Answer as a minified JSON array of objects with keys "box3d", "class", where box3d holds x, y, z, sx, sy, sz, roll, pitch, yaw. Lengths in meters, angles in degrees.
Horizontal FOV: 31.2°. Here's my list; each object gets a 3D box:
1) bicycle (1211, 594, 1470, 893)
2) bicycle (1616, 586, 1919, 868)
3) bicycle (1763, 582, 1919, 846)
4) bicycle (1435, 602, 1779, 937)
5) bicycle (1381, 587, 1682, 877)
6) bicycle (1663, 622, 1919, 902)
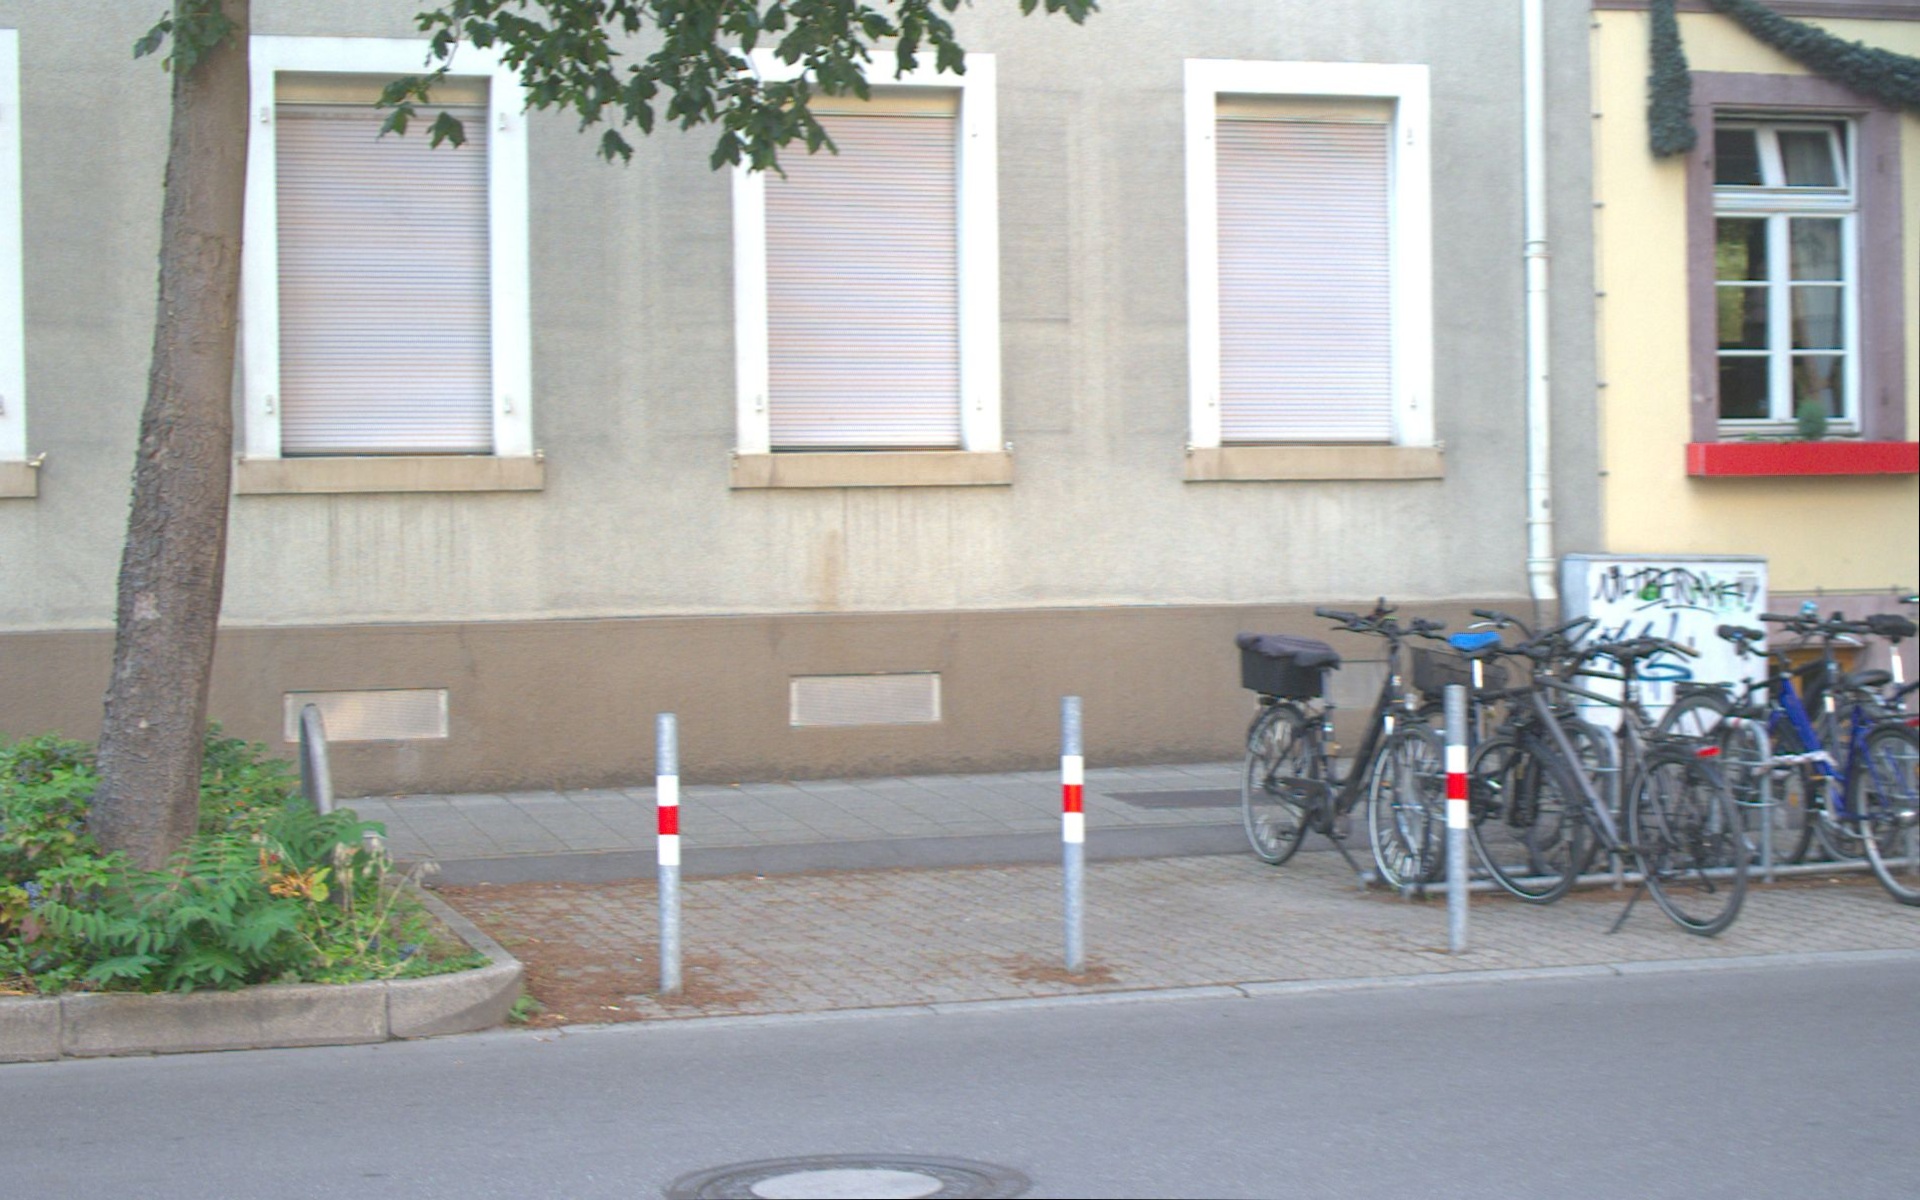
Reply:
[{"box3d":[1.594,0.570,14.712,0.445,1.141,2.043,-1,1,-13],"class":"bicycle"},{"box3d":[3.624,0.527,15.430,0.420,1.141,2.043,-1,1,-17],"class":"bicycle"},{"box3d":[4.349,0.509,15.544,0.420,1.141,2.043,-1,1,-17],"class":"bicycle"},{"box3d":[2.457,0.606,13.305,0.445,1.141,2.043,-1,1,-15],"class":"bicycle"},{"box3d":[2.458,0.534,15.028,0.420,1.141,2.043,-1,1,-17],"class":"bicycle"},{"box3d":[3.553,0.621,13.997,0.420,1.000,2.043,-1,1,-17],"class":"bicycle"}]
